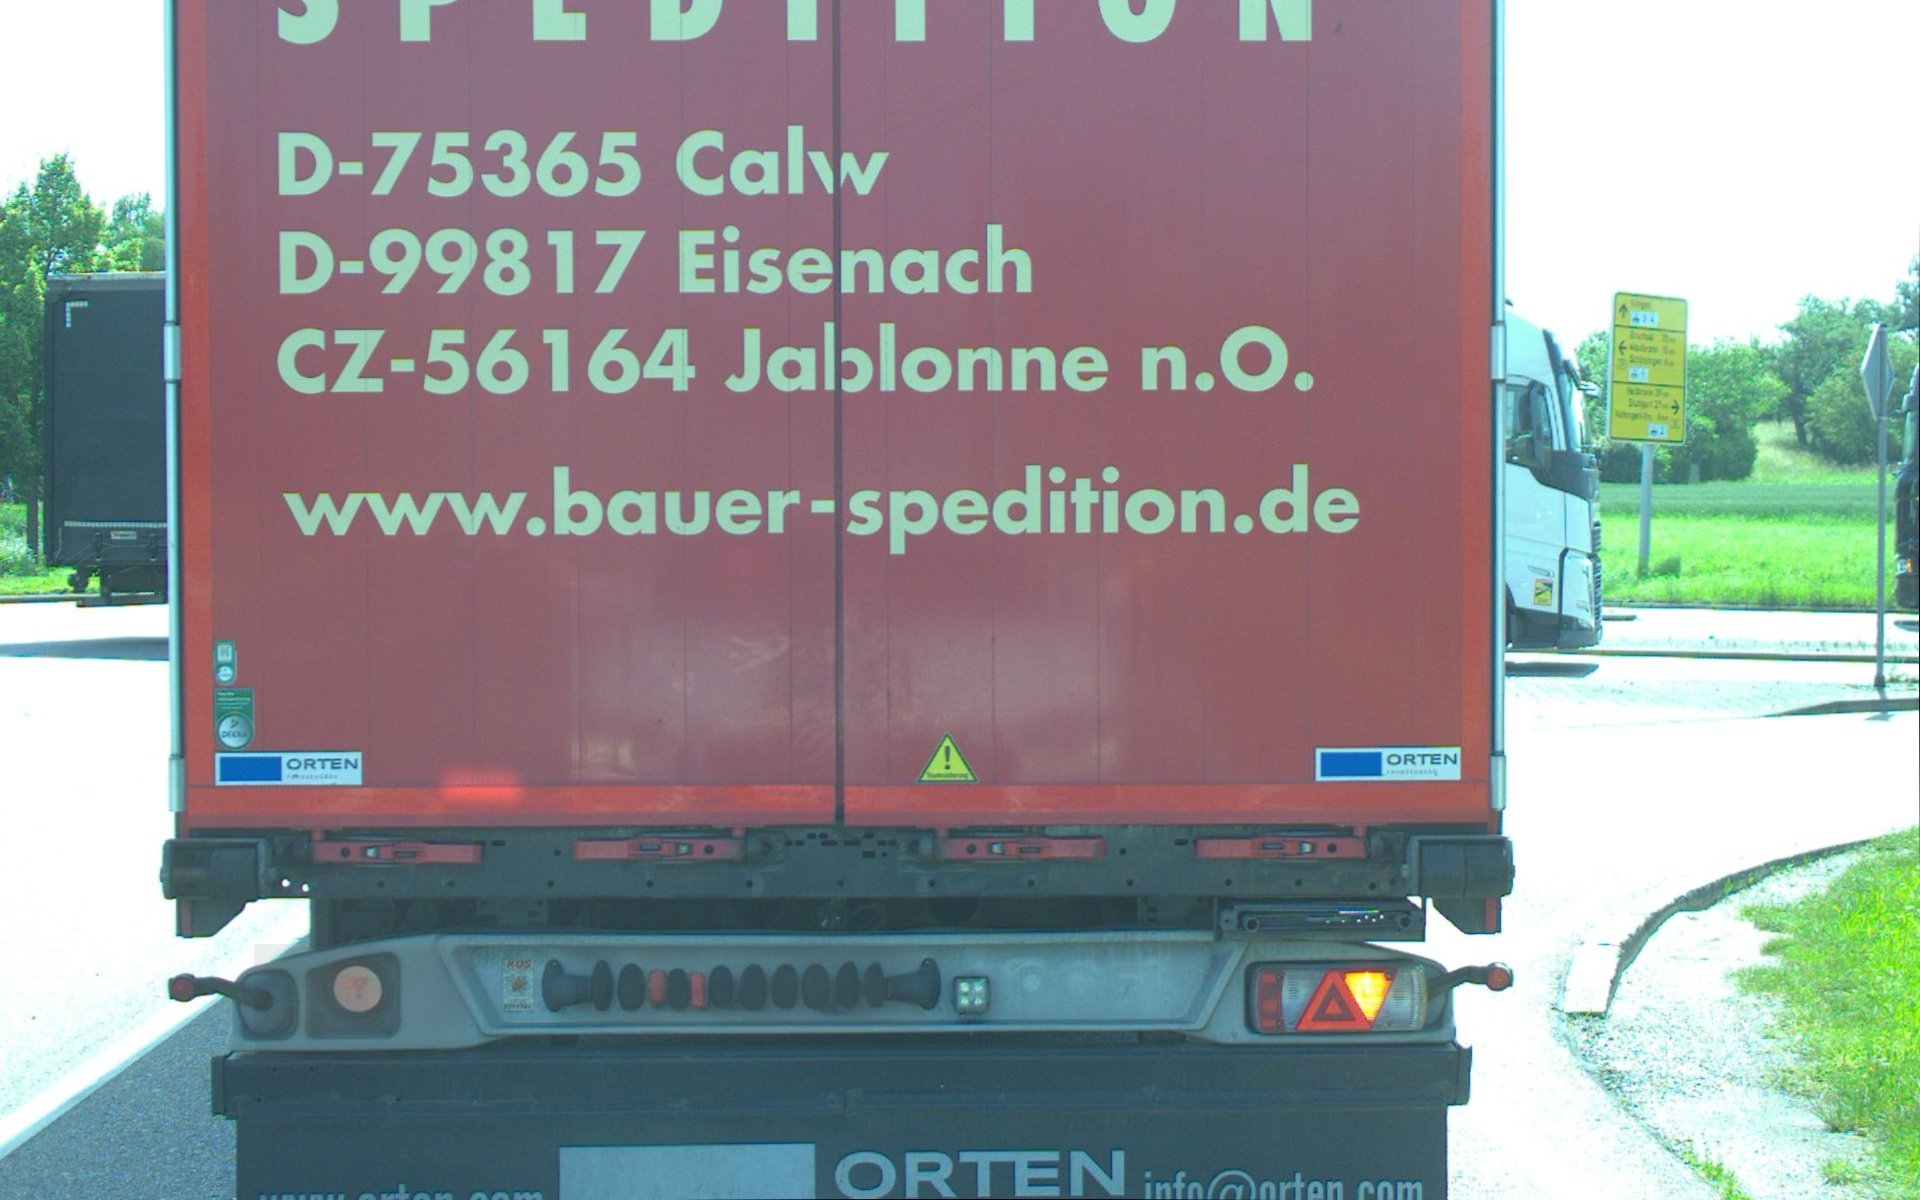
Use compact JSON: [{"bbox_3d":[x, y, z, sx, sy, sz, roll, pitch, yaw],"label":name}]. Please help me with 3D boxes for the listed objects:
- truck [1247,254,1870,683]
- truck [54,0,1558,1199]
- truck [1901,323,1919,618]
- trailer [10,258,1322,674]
[{"bbox_3d":[5.949,-1.343,34.402,5.828,4.047,2.797,1,2,10],"label":"truck"},{"bbox_3d":[-0.408,-0.809,14.584,2.734,3.911,16.627,0,1,-1],"label":"truck"},{"bbox_3d":[16.537,-1.725,47.057,6.935,3.980,3.025,1,2,16],"label":"truck"},{"bbox_3d":[-3.199,-1.494,36.515,13.693,4.047,2.797,1,2,14],"label":"trailer"}]
